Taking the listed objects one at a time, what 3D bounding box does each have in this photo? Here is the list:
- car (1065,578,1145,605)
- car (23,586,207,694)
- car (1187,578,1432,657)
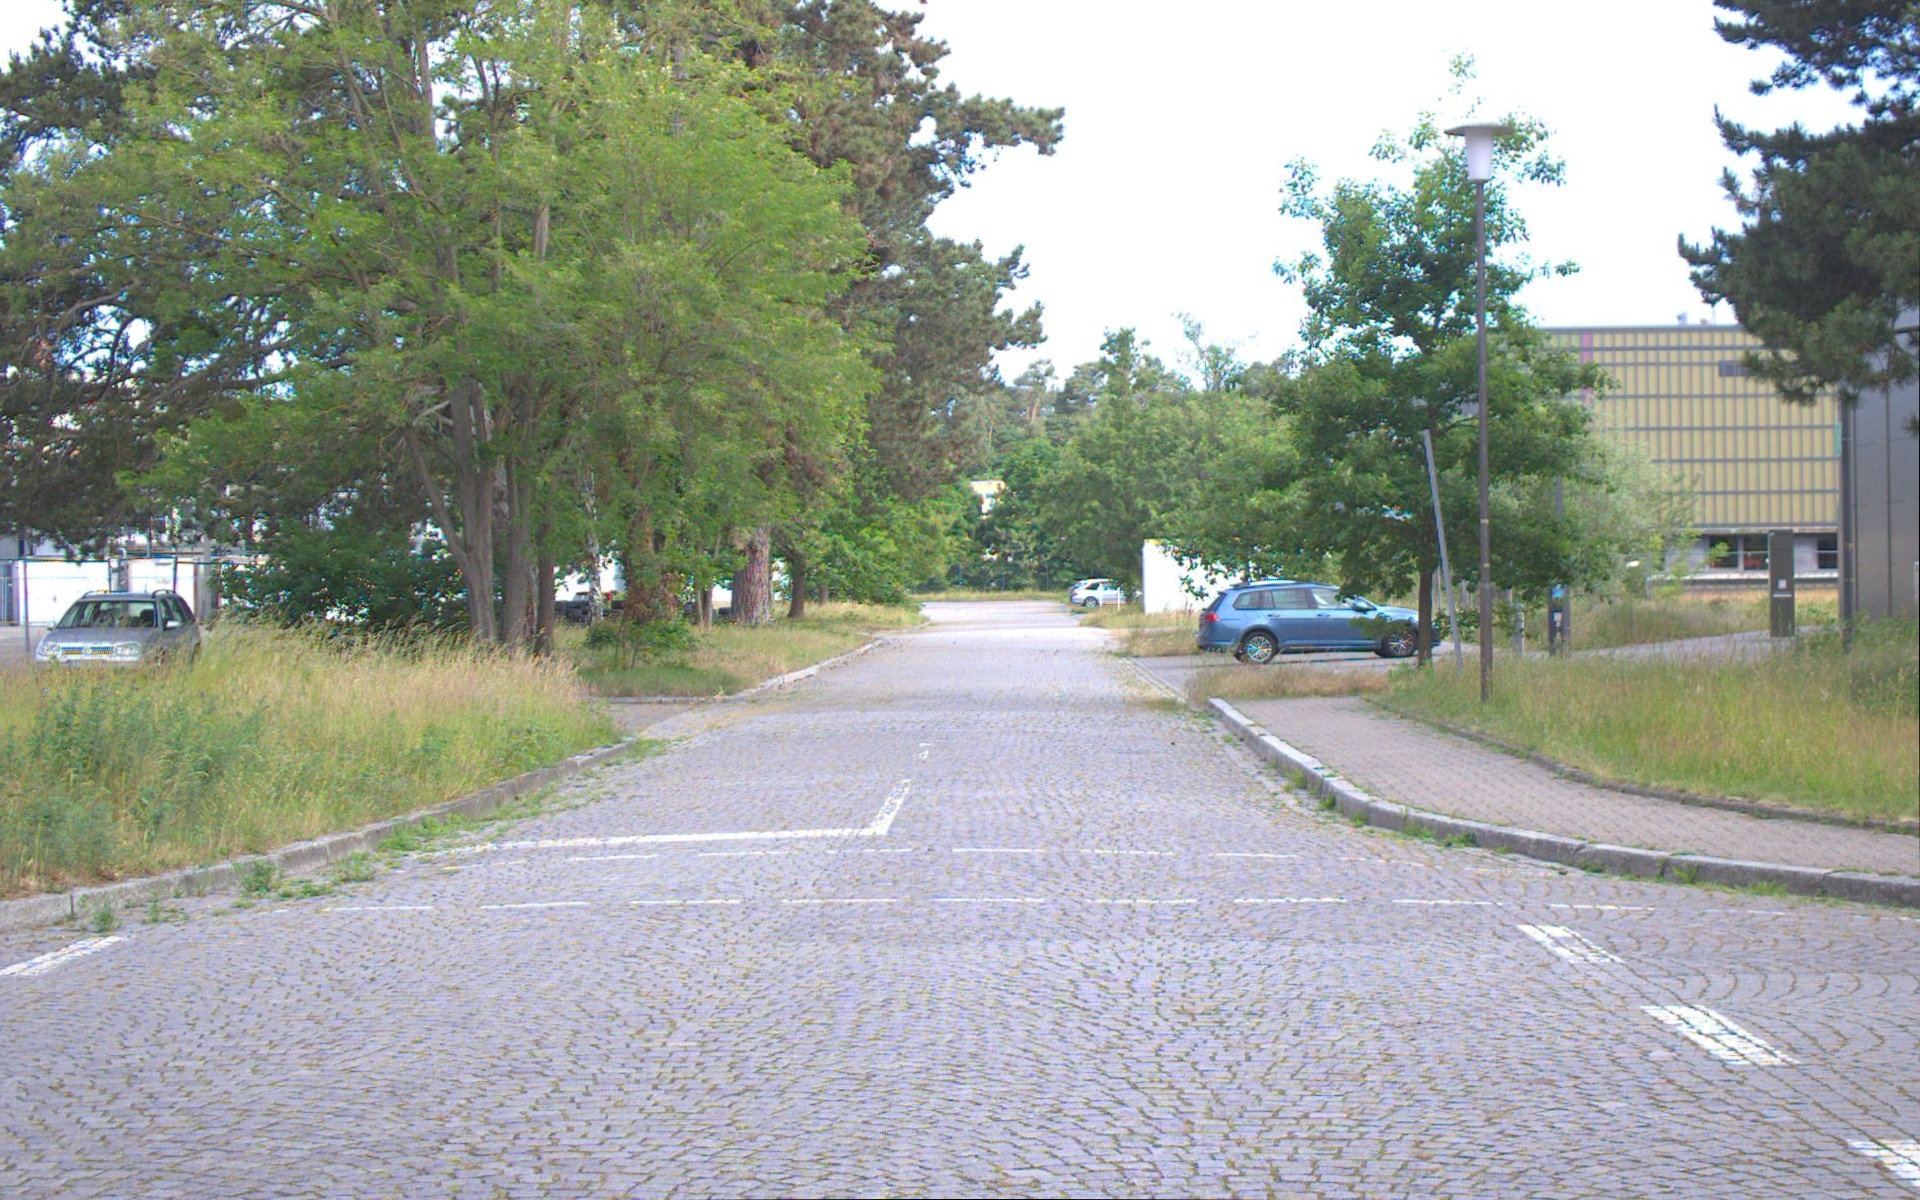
[{"bbox_3d":[7.642,-0.454,181.415,3.986,1.393,2.000,-1,0,-4],"label":"car"},{"bbox_3d":[-12.216,0.548,49.905,1.613,1.482,4.000,0,0,1],"label":"car"},{"bbox_3d":[6.509,0.314,64.332,4.344,1.417,2.000,0,0,-1],"label":"car"}]
